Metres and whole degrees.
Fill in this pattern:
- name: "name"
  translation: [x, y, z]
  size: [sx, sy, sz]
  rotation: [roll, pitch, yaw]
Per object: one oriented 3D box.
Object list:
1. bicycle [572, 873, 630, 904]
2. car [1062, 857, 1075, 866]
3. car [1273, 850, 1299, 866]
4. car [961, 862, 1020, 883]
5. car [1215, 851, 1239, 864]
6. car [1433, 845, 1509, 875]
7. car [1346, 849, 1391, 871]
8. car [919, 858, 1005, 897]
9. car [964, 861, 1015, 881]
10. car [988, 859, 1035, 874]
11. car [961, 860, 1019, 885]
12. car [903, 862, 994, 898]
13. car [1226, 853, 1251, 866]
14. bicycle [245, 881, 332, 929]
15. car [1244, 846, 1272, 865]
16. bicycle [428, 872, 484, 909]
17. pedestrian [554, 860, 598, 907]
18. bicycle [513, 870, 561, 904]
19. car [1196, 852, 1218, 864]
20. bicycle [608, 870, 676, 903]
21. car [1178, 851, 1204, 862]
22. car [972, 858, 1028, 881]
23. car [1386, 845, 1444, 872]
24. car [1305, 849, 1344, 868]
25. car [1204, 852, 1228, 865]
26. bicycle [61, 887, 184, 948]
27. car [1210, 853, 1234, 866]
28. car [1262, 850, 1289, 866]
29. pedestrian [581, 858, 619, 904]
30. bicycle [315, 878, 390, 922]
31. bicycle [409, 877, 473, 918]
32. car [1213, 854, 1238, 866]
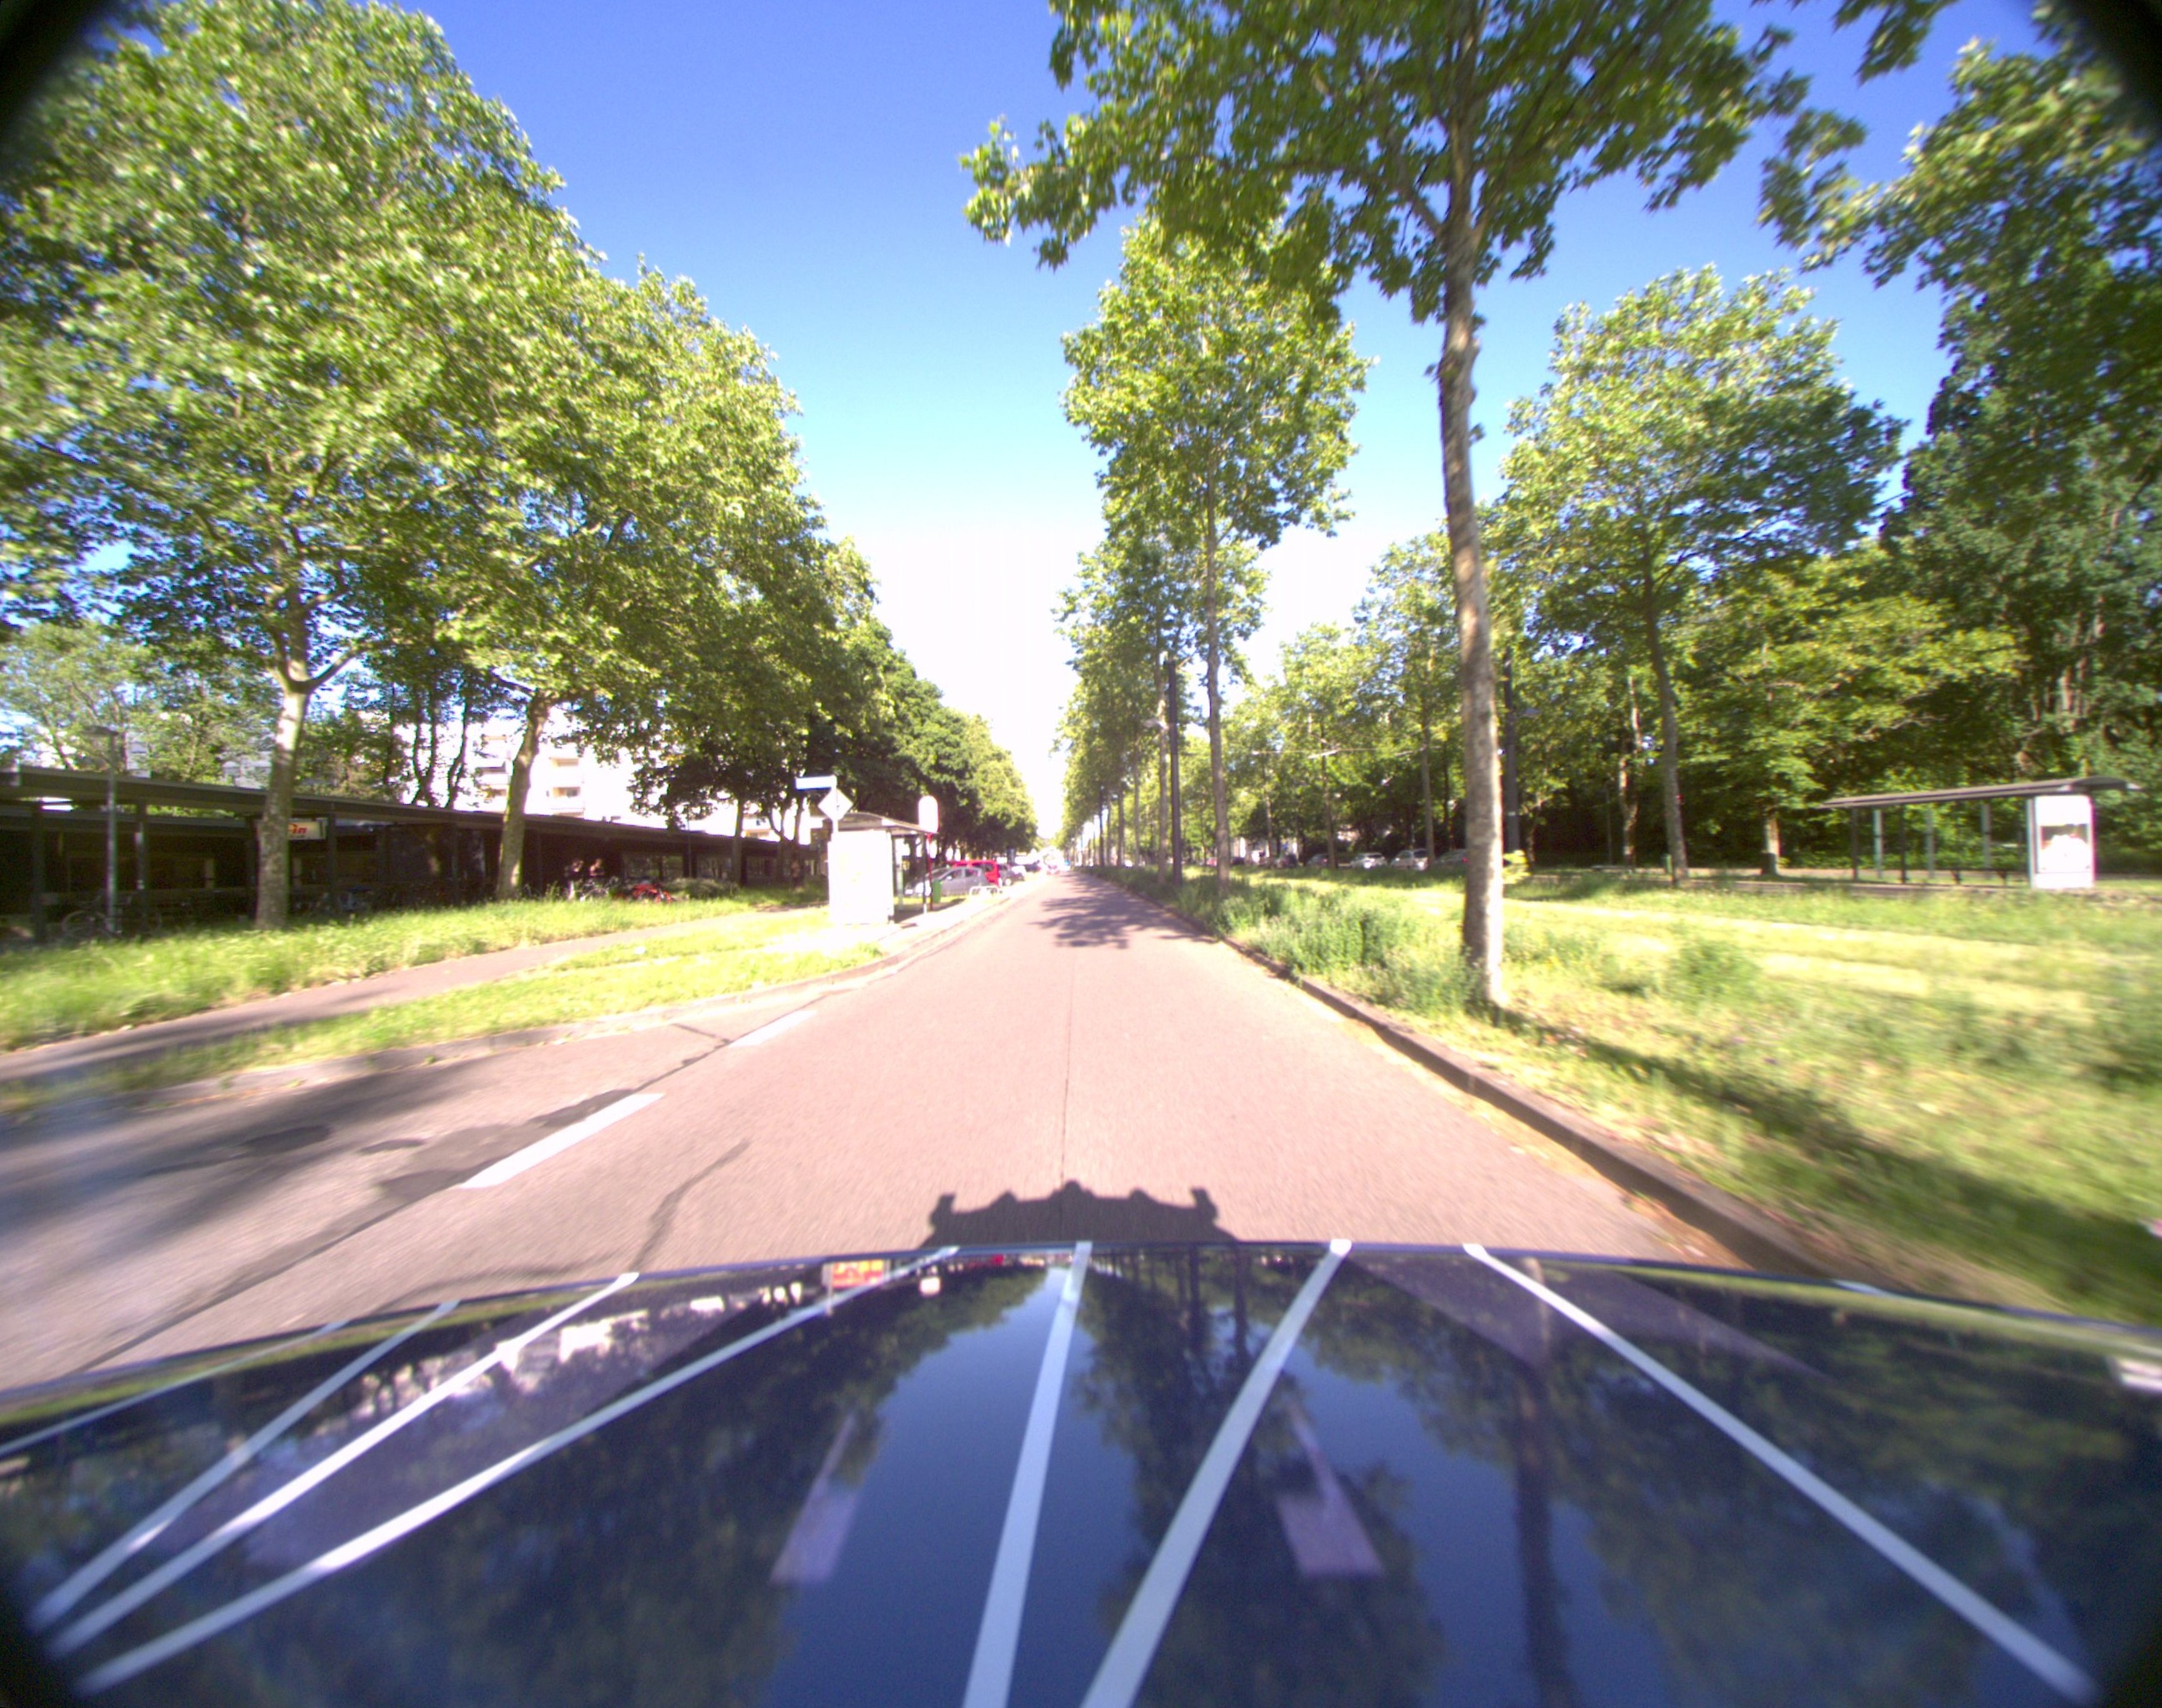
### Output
- name: "bicycle"
  translation: [-18.178, 1.303, 28.766]
  size: [2.069, 1.151, 0.562]
  rotation: [-1, 1, 14]
- name: "car"
  translation: [-2.271, 1.352, 137.612]
  size: [1.897, 1.623, 4.502]
  rotation: [-3, 0, 2]
- name: "car"
  translation: [21.138, 0.441, 78.343]
  size: [1.545, 1.480, 3.569]
  rotation: [-6, 0, -1]
- name: "car"
  translation: [-6.513, 1.299, 54.842]
  size: [1.682, 1.395, 4.096]
  rotation: [0, 0, 42]
- name: "car"
  translation: [22.725, 0.518, 118.002]
  size: [1.895, 1.699, 4.508]
  rotation: [-3, 1, 35]
- name: "car"
  translation: [22.514, 0.301, 44.118]
  size: [1.902, 1.480, 4.626]
  rotation: [-6, 1, 0]
- name: "car"
  translation: [21.819, 0.451, 57.791]
  size: [1.723, 1.410, 4.023]
  rotation: [-6, 0, 0]
- name: "car"
  translation: [-5.889, 1.119, 37.844]
  size: [3.959, 1.832, 1.764]
  rotation: [-1, 0, -45]
- name: "car"
  translation: [-7.045, 1.280, 58.765]
  size: [3.583, 1.412, 1.706]
  rotation: [0, 0, -43]
- name: "car"
  translation: [-7.096, 1.286, 78.278]
  size: [1.994, 1.417, 4.686]
  rotation: [0, 0, 43]
- name: "car"
  translation: [-6.136, 1.206, 51.437]
  size: [1.695, 1.581, 3.731]
  rotation: [0, 0, 42]
- name: "car"
  translation: [-5.900, 1.145, 34.125]
  size: [3.837, 1.464, 1.514]
  rotation: [-1, 0, -44]
- name: "car"
  translation: [21.833, 0.796, 105.105]
  size: [1.884, 1.558, 4.007]
  rotation: [-3, 1, 35]
- name: "bicycle"
  translation: [-23.098, 1.461, 22.186]
  size: [0.577, 1.246, 1.806]
  rotation: [-3, 1, -1]
- name: "car"
  translation: [21.071, 0.131, 90.516]
  size: [1.987, 2.045, 4.277]
  rotation: [-6, 1, -2]
- name: "bicycle"
  translation: [-23.631, 1.359, 28.771]
  size: [0.577, 1.246, 1.806]
  rotation: [-3, 1, -1]
- name: "pedestrian"
  translation: [-18.964, 1.104, 28.565]
  size: [1.131, 1.698, 0.732]
  rotation: [-2, 1, -13]
- name: "bicycle"
  translation: [-22.081, 1.323, 30.865]
  size: [0.577, 1.246, 1.806]
  rotation: [-3, 1, -1]
- name: "car"
  translation: [21.186, 0.599, 127.747]
  size: [1.895, 1.699, 4.508]
  rotation: [-3, 1, 35]
- name: "bicycle"
  translation: [-16.039, 1.182, 27.805]
  size: [2.073, 1.151, 0.561]
  rotation: [-1, 1, -10]
- name: "car"
  translation: [20.784, 0.520, 143.666]
  size: [4.506, 1.699, 1.896]
  rotation: [-4, 1, -32]
- name: "car"
  translation: [-6.634, 1.262, 62.534]
  size: [4.311, 1.666, 1.863]
  rotation: [-2, 0, -44]
- name: "car"
  translation: [22.100, 0.280, 50.433]
  size: [1.820, 1.587, 4.189]
  rotation: [-5, 1, 0]
- name: "car"
  translation: [21.734, 0.398, 67.951]
  size: [1.843, 1.480, 4.178]
  rotation: [-6, 0, -2]
- name: "car"
  translation: [21.447, 0.685, 120.369]
  size: [1.895, 1.699, 4.508]
  rotation: [-3, 1, 35]
- name: "bicycle"
  translation: [-22.885, 1.483, 18.192]
  size: [0.577, 1.246, 1.806]
  rotation: [-3, 1, -1]
- name: "car"
  translation: [20.791, 0.798, 112.062]
  size: [1.884, 1.558, 4.007]
  rotation: [-3, 1, 35]
- name: "car"
  translation: [21.369, 0.416, 83.637]
  size: [1.754, 1.487, 3.816]
  rotation: [-5, 1, -1]
- name: "pedestrian"
  translation: [-19.927, 1.119, 31.528]
  size: [0.967, 1.830, 0.952]
  rotation: [-2, 1, -9]
- name: "bicycle"
  translation: [-23.207, 1.449, 24.261]
  size: [0.577, 1.246, 1.806]
  rotation: [-3, 1, -1]
- name: "bicycle"
  translation: [-21.816, 1.464, 25.956]
  size: [0.577, 1.246, 1.806]
  rotation: [-3, 1, -1]
- name: "car"
  translation: [20.595, 0.844, 108.182]
  size: [1.884, 1.558, 4.007]
  rotation: [-3, 1, 35]
